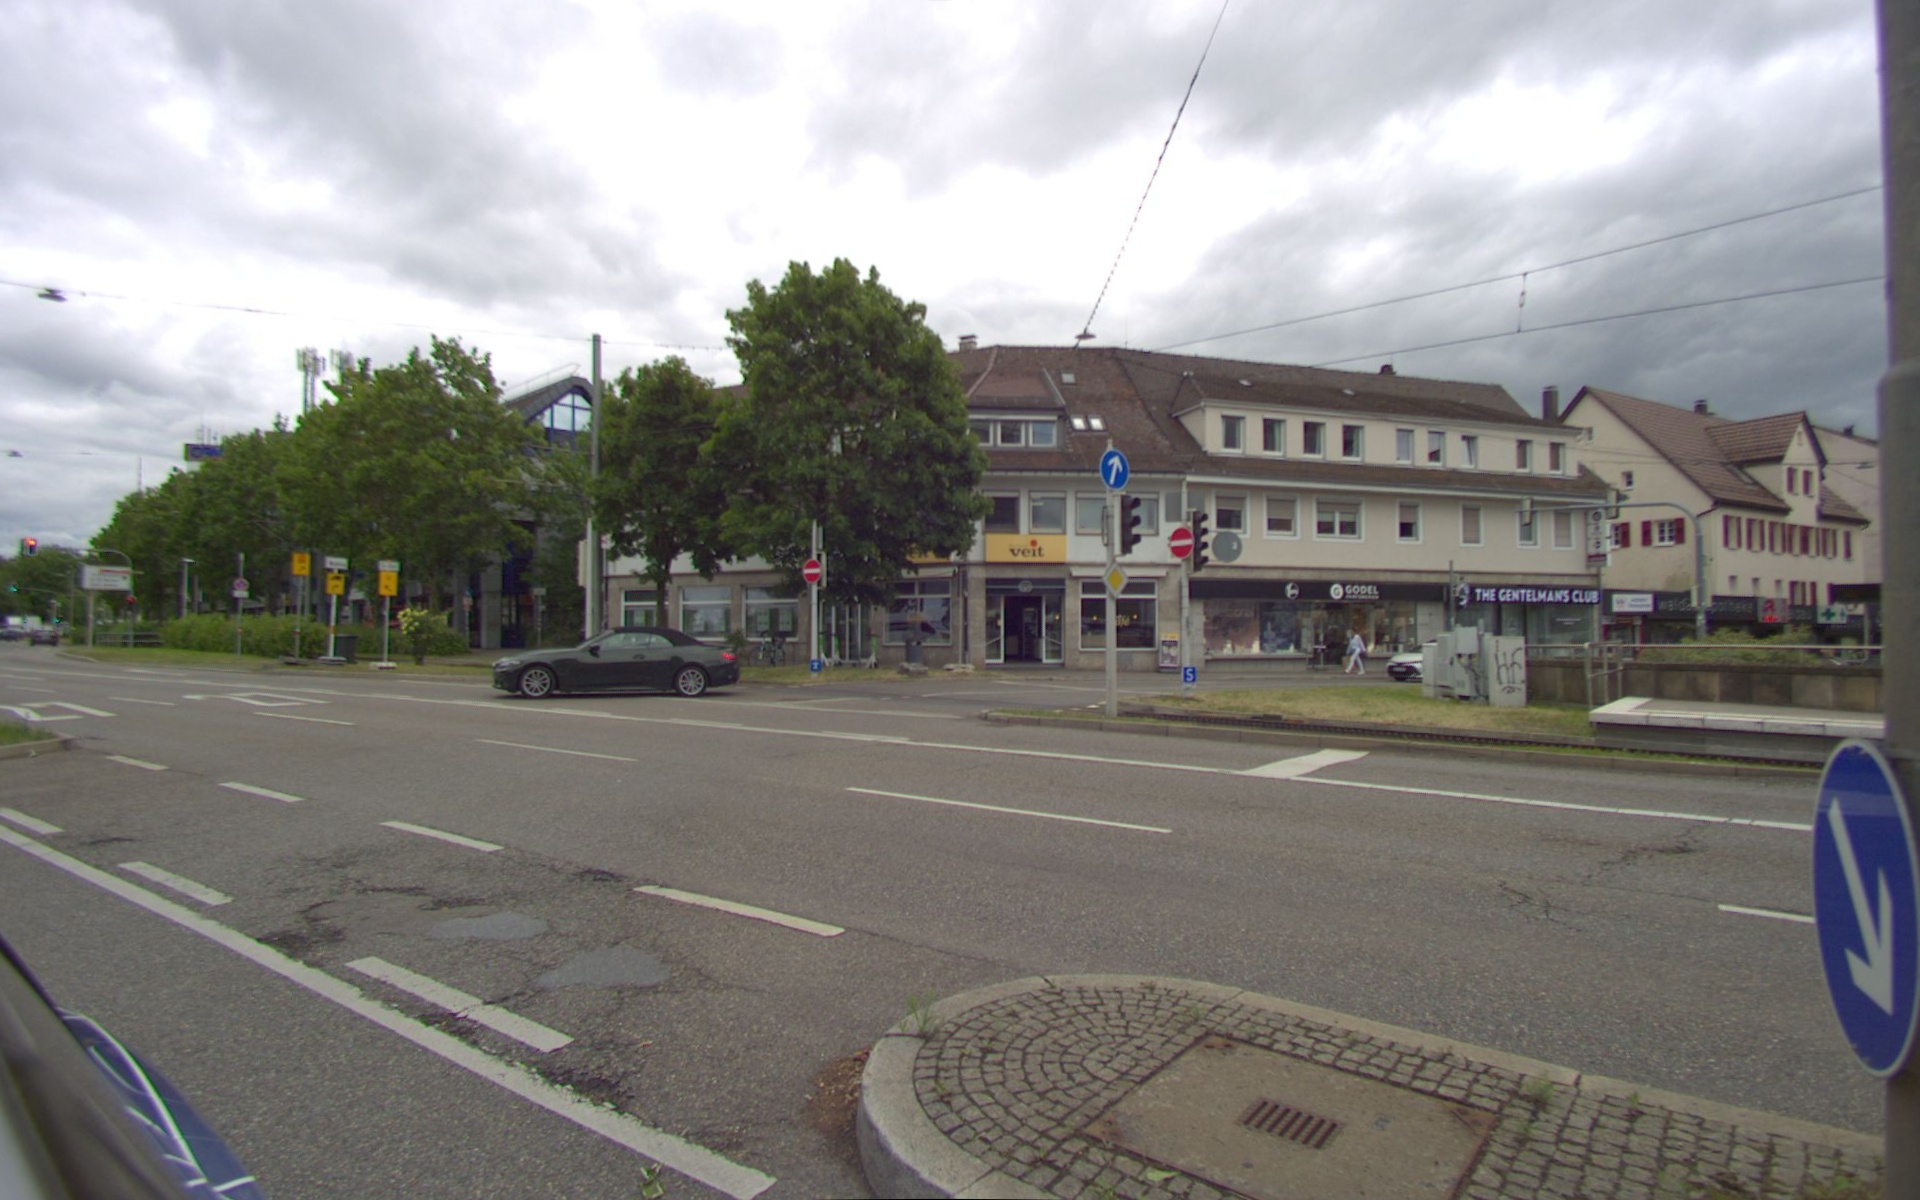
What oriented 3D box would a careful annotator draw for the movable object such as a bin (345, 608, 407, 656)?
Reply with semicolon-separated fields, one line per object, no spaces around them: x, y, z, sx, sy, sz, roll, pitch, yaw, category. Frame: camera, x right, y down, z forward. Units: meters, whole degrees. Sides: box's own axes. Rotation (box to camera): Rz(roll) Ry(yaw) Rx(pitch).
-32.517;1.773;56.288;4.128;2.551;1.884;-1;-2;44;movable object such as a bin

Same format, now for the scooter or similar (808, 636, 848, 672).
-4.044;1.636;30.907;1.176;1.094;0.595;-2;-2;43;scooter or similar

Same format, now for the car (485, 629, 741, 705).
-6.837;1.274;20.112;4.601;1.391;1.832;1;-2;-22;car

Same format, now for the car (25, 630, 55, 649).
-82.081;3.505;90.273;1.762;1.549;4.398;1;-2;-45;car

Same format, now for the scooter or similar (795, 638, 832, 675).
-4.250;1.626;29.339;0.484;1.053;1.177;1;-2;-43;scooter or similar

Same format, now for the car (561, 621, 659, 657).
-15.641;1.738;45.415;1.851;1.436;3.963;-3;-1;29;car

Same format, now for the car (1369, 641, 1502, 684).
15.767;2.031;33.582;3.843;1.305;1.993;1;-2;-25;car

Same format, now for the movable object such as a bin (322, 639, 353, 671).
-19.967;1.759;32.456;0.836;1.020;0.559;-2;-2;35;movable object such as a bin

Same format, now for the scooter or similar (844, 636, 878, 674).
-2.956;1.628;30.099;0.990;1.094;0.419;-1;-2;39;scooter or similar

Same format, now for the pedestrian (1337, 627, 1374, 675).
14.097;1.819;36.047;0.843;1.683;0.878;1;-2;-17;pedestrian

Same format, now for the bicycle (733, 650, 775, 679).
-6.043;1.889;29.709;0.423;0.811;1.247;-1;-2;36;bicycle
